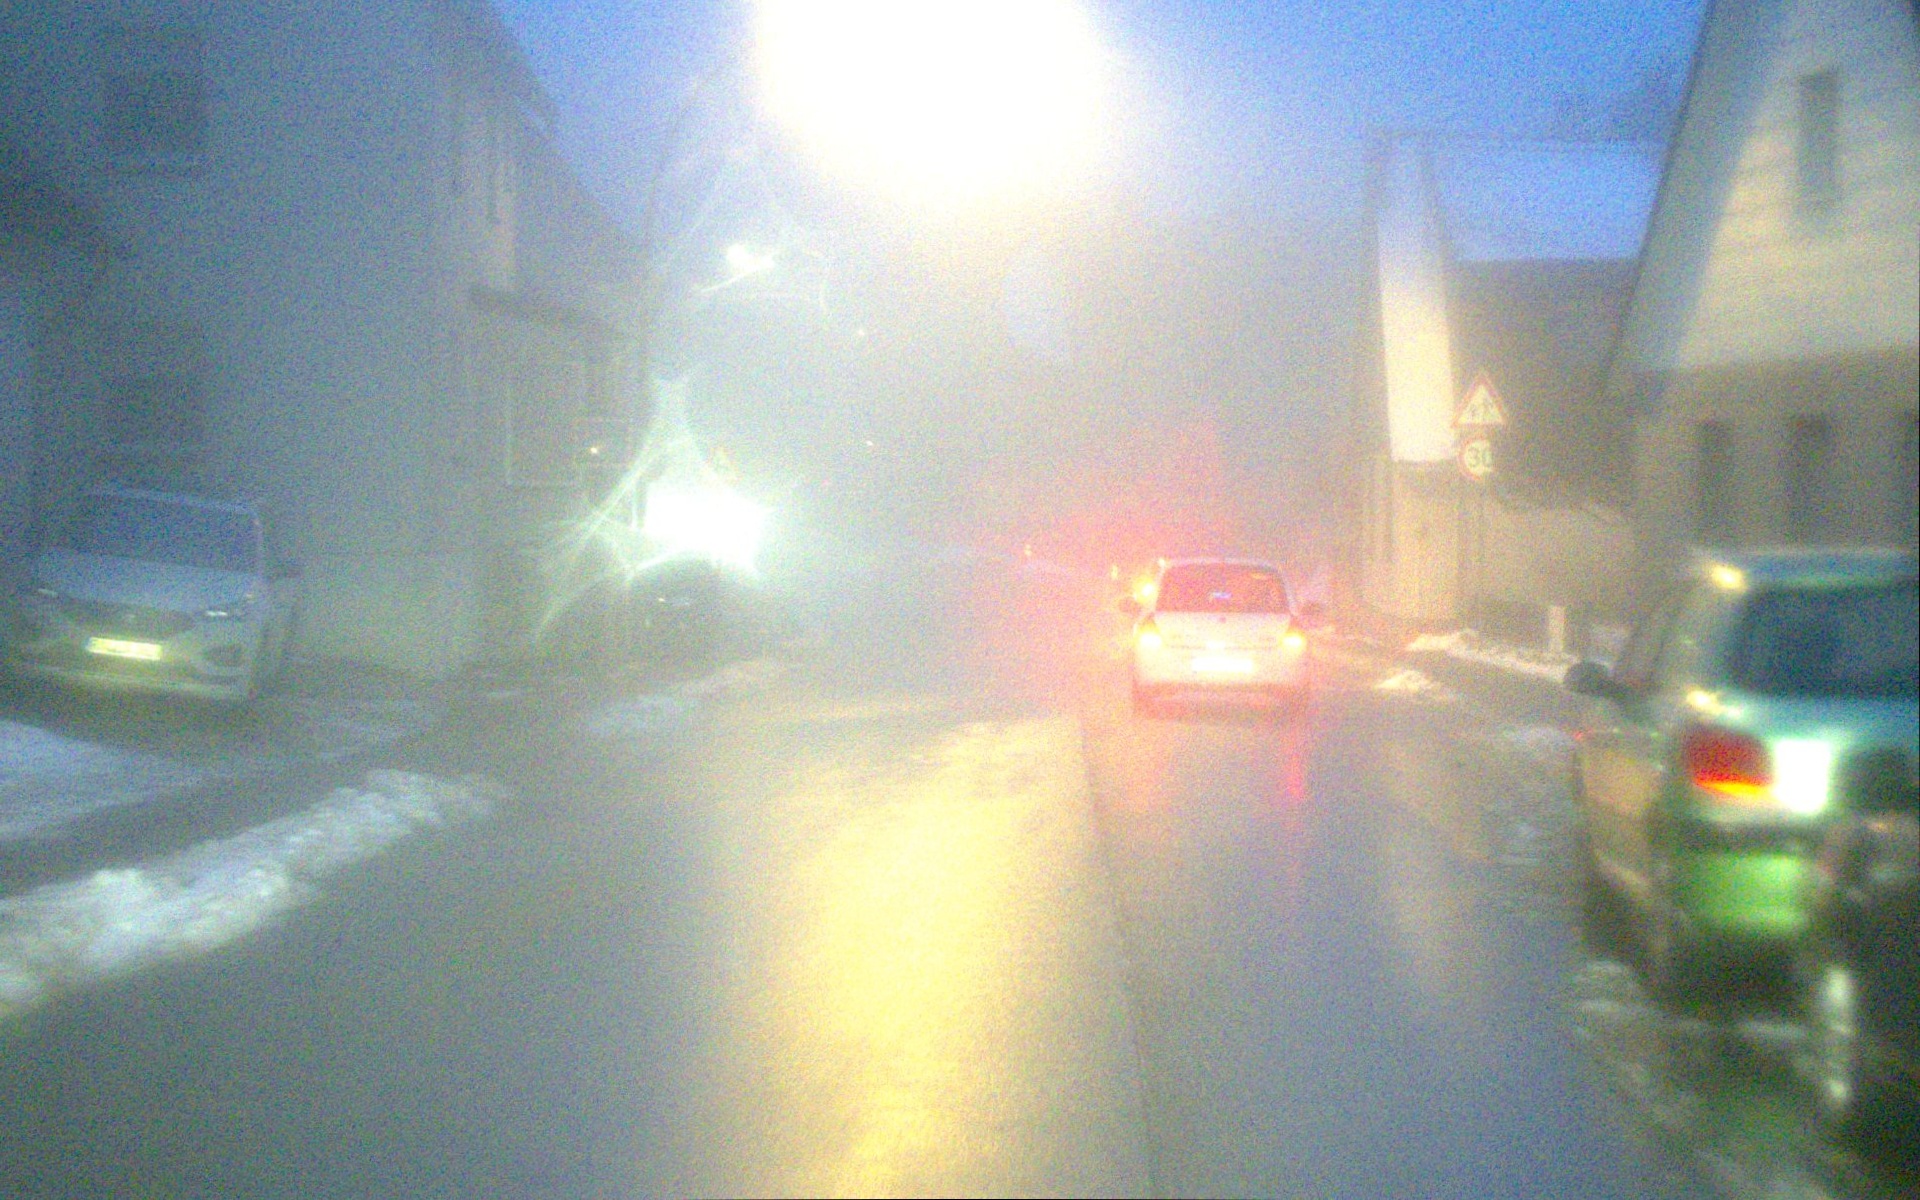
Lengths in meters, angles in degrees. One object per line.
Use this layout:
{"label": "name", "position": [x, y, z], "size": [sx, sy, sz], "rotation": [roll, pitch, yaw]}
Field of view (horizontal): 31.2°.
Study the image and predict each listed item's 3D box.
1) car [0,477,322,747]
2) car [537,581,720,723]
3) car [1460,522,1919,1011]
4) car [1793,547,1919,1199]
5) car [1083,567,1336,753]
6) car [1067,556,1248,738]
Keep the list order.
{"label": "car", "position": [-6.086, 0.062, 26.363], "size": [1.764, 1.730, 4.640], "rotation": [5, 0, -5]}
{"label": "car", "position": [-4.150, 0.616, 43.574], "size": [1.993, 1.517, 4.191], "rotation": [3, 1, -2]}
{"label": "car", "position": [3.006, 0.520, 12.621], "size": [1.910, 1.476, 4.281], "rotation": [1, 0, 3]}
{"label": "car", "position": [2.993, 0.645, 7.279], "size": [1.717, 1.494, 3.906], "rotation": [2, 0, 4]}
{"label": "car", "position": [2.249, 0.558, 32.001], "size": [1.993, 1.503, 4.000], "rotation": [3, -1, 0]}
{"label": "car", "position": [2.406, 0.582, 42.013], "size": [1.994, 2.007, 3.999], "rotation": [3, -1, 3]}
